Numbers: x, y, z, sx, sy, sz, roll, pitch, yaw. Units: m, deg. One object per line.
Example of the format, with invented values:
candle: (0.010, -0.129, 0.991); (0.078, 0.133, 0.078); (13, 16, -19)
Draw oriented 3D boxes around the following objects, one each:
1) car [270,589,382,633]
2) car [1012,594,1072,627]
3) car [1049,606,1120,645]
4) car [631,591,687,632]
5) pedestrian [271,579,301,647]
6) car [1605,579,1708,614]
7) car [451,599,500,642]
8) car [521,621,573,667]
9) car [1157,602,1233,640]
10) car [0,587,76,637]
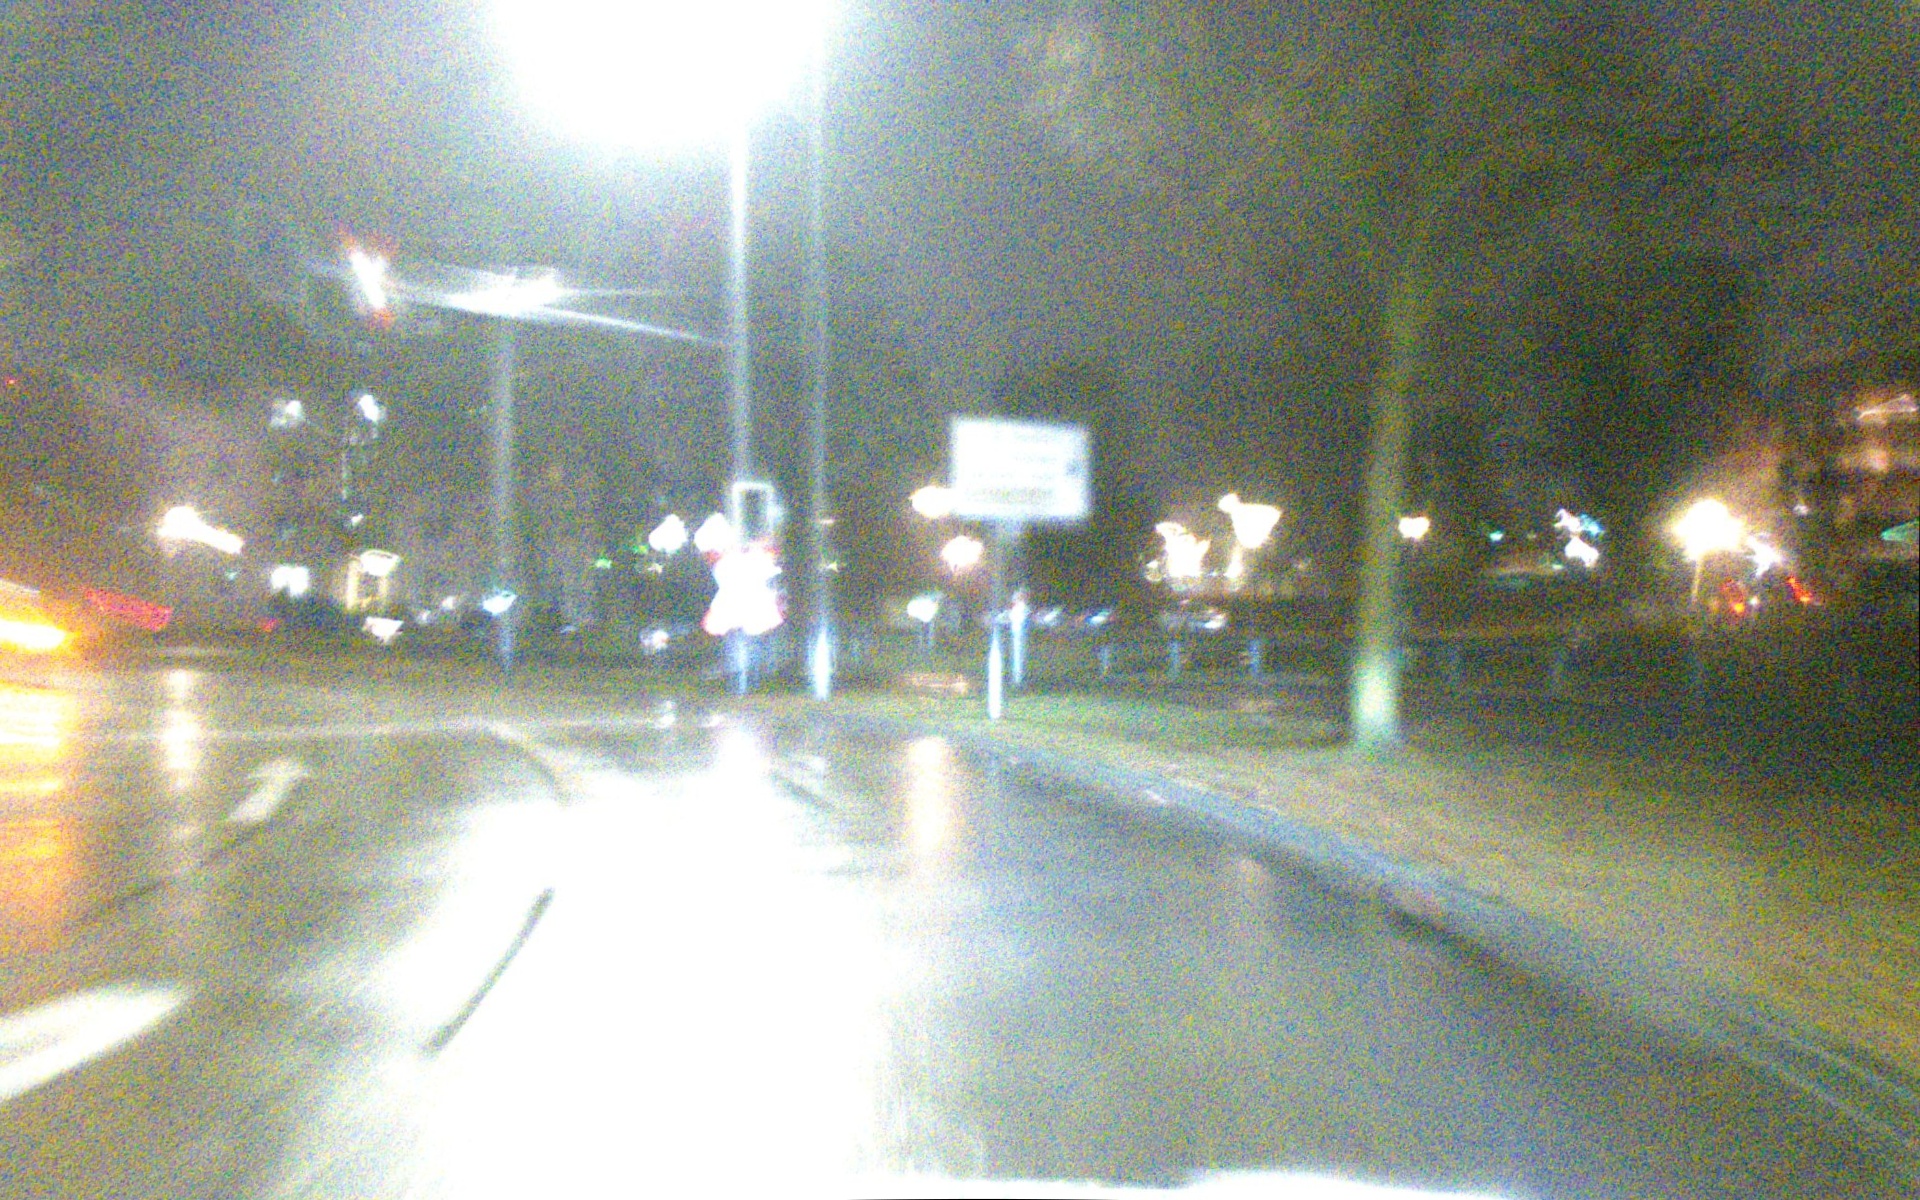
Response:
car: (-25.247, 0.459, 65.991); (3.988, 1.711, 1.785); (1, -1, -16)
car: (3.968, 0.499, 80.366); (1.689, 1.563, 3.893); (1, -1, -17)
car: (5.147, 1.045, 68.785); (1.689, 1.563, 3.893); (1, -1, -17)
car: (-11.578, 0.445, 63.477); (1.689, 1.523, 3.893); (1, -1, -17)
pedestrian: (-19.280, 0.377, 47.316); (0.646, 1.935, 0.720); (1, -1, -34)
car: (32.621, -0.130, 77.656); (1.689, 1.563, 4.971); (1, -1, -17)
car: (-18.112, 0.763, 61.751); (1.689, 1.523, 3.893); (1, -1, -17)
car: (-15.462, 1.669, 61.870); (1.689, 1.523, 3.892); (-1, -3, -17)
car: (9.903, 0.873, 69.969); (1.689, 1.563, 3.893); (1, -1, -17)
car: (-33.714, 0.419, 58.413); (3.913, 1.713, 1.915); (0, -1, -9)
